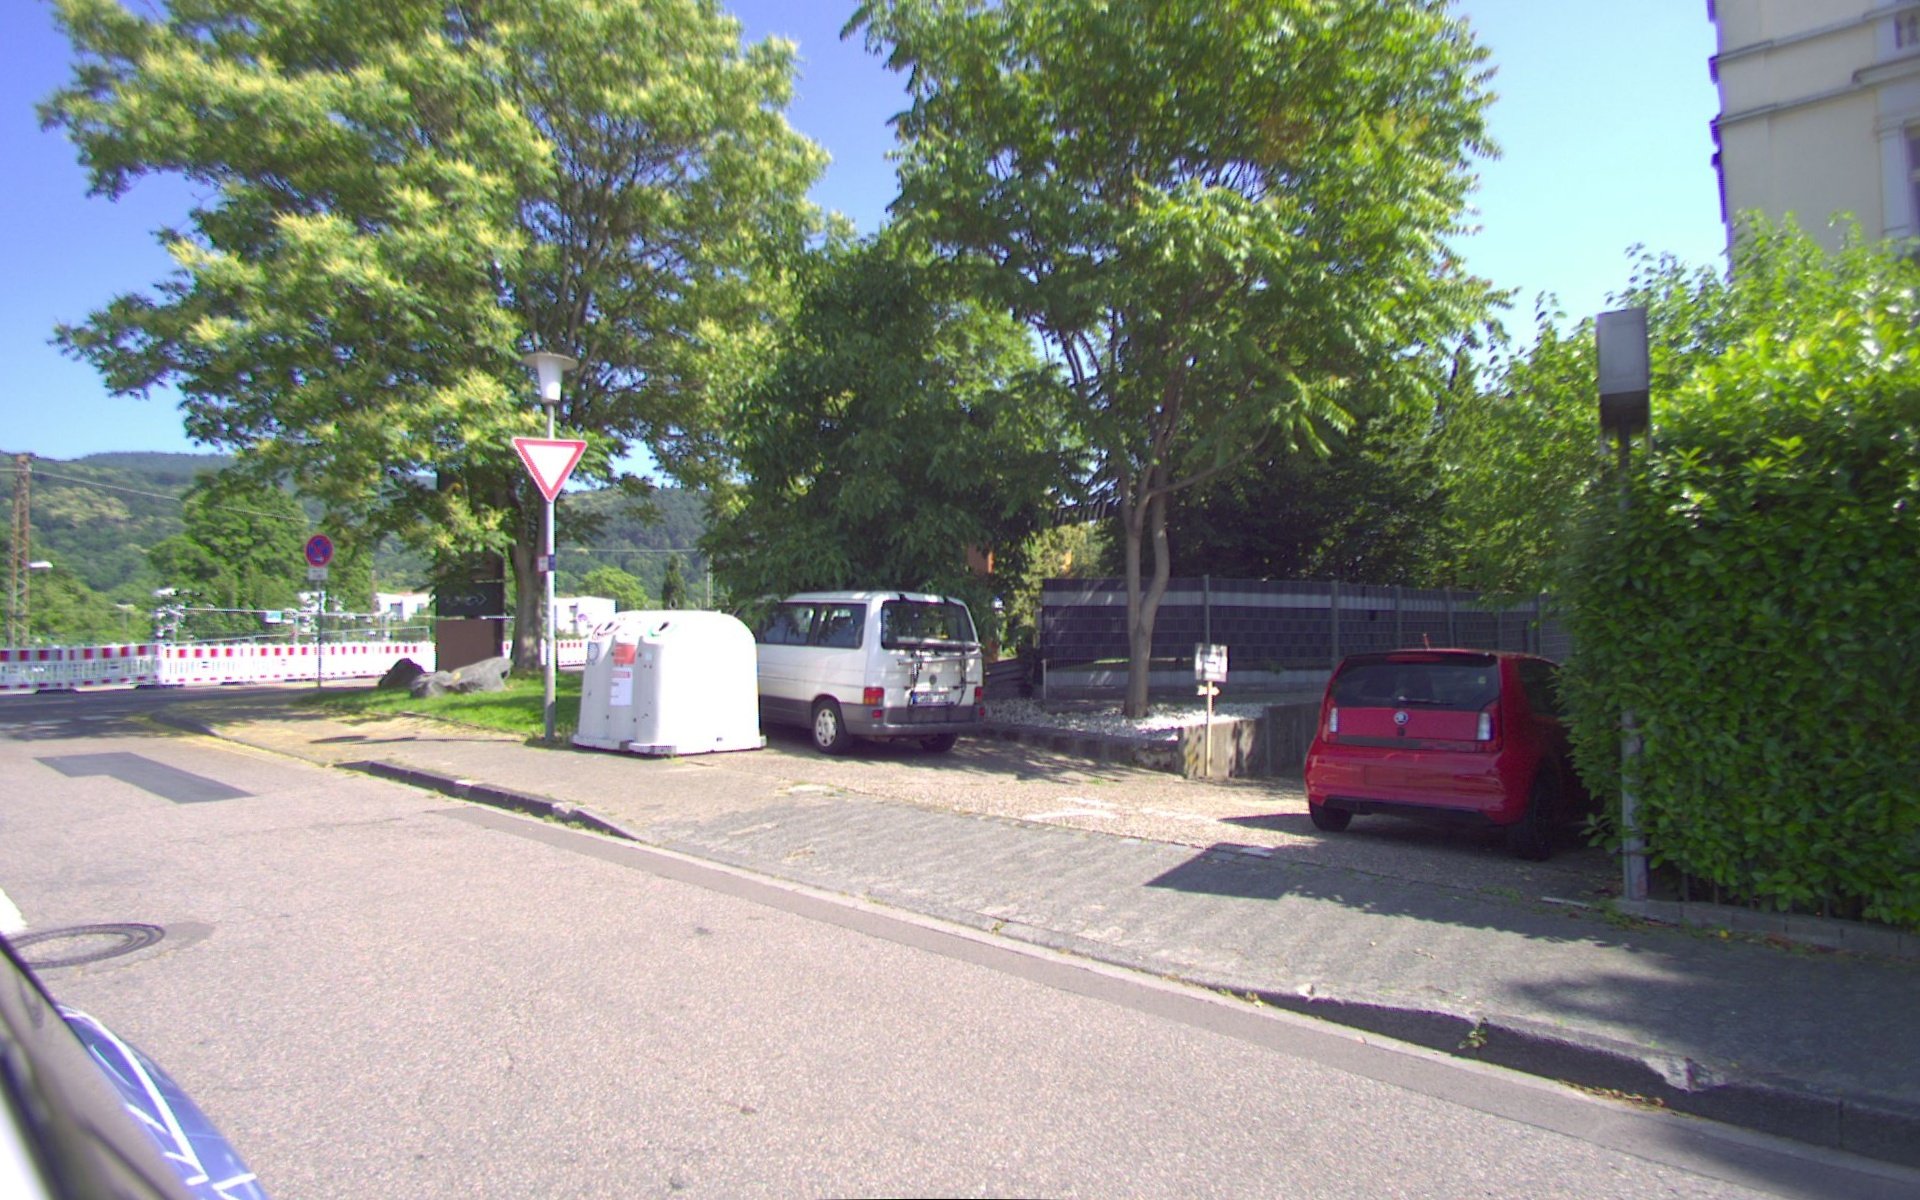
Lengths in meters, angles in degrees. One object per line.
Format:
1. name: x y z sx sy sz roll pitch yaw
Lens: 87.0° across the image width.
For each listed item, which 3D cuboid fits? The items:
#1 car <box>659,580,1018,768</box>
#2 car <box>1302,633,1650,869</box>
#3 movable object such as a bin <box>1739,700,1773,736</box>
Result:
1. car: -1.784 0.817 13.054 1.969 1.945 5.107 4 -3 -42
2. car: 4.304 1.131 8.213 1.650 1.477 3.375 -2 -7 43
3. movable object such as a bin: 26.760 3.965 34.026 0.878 1.127 0.687 -1 -4 40
